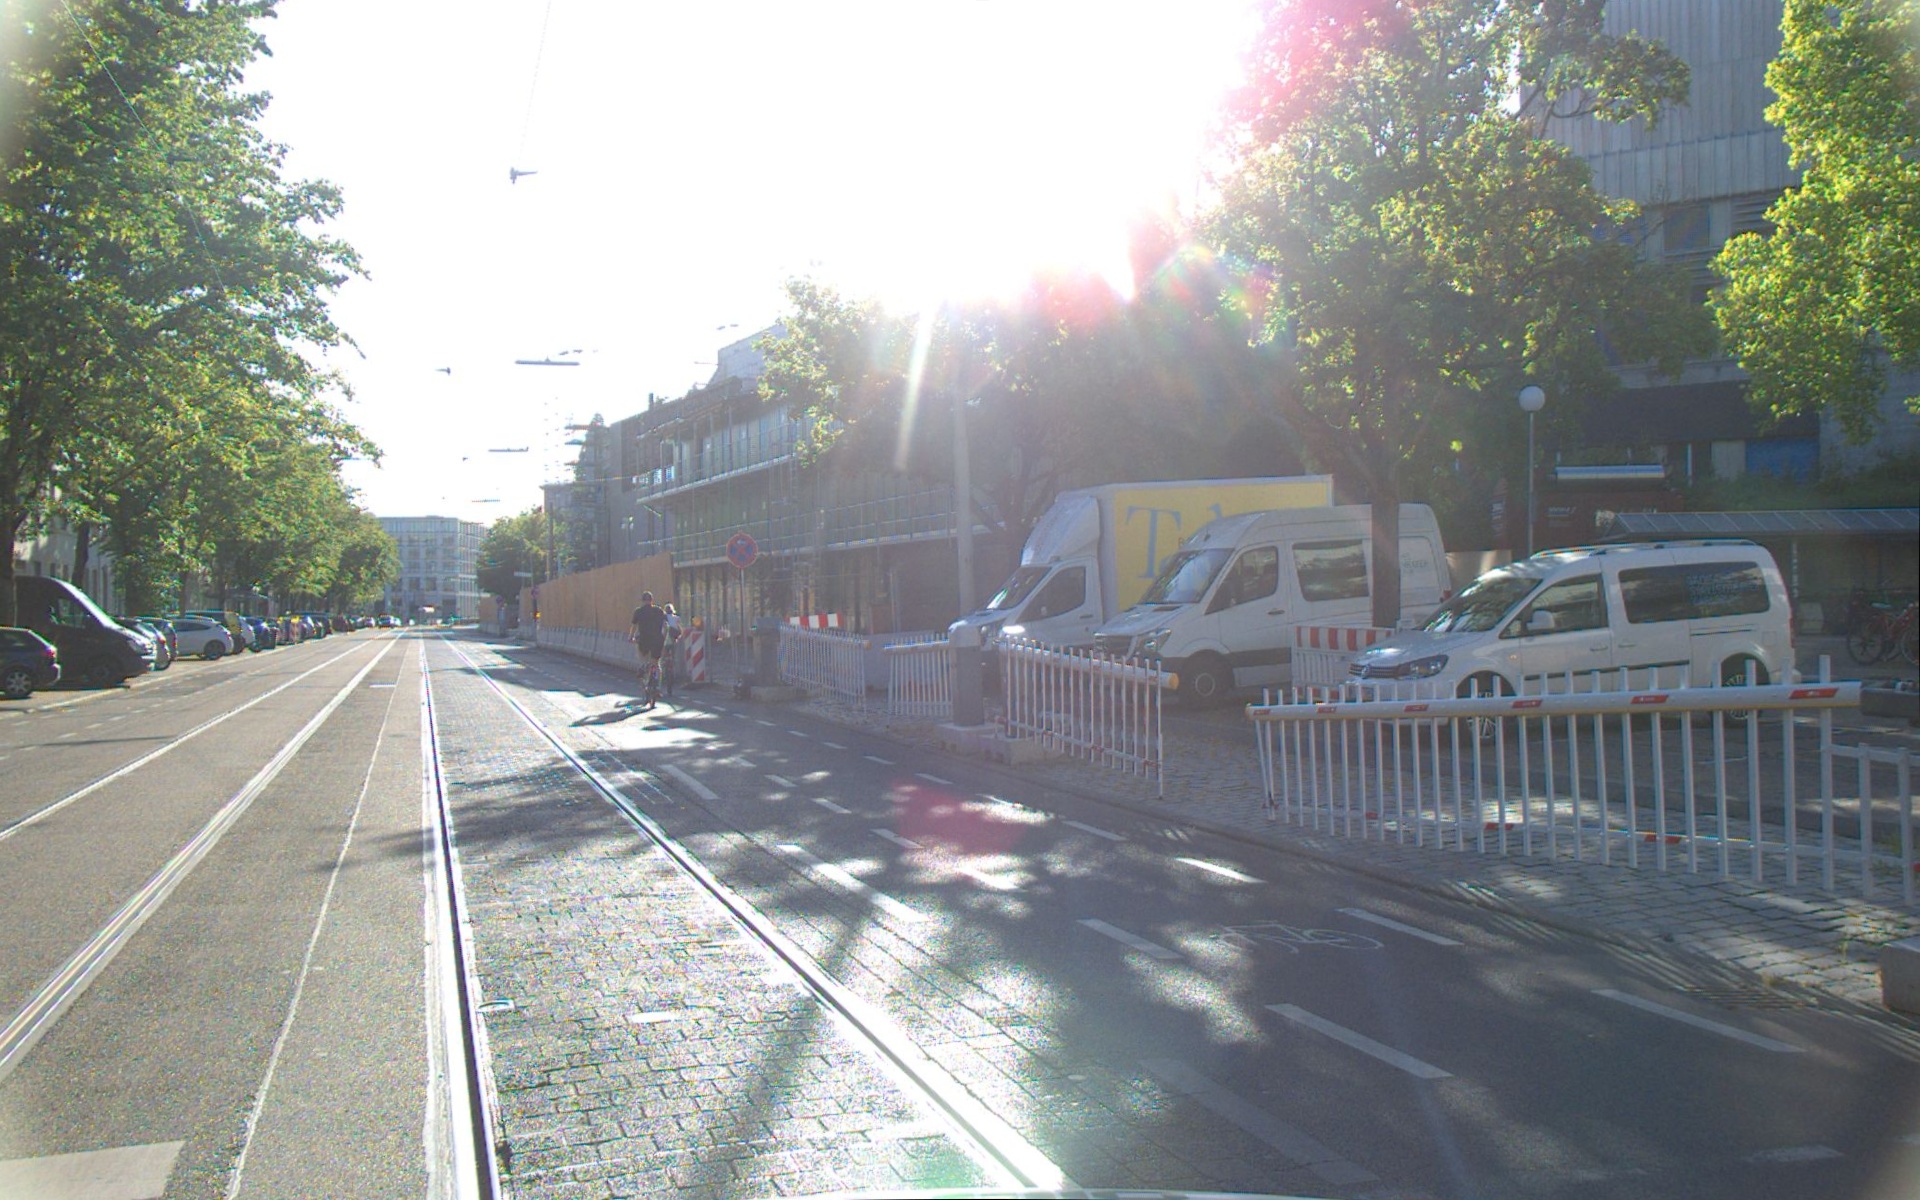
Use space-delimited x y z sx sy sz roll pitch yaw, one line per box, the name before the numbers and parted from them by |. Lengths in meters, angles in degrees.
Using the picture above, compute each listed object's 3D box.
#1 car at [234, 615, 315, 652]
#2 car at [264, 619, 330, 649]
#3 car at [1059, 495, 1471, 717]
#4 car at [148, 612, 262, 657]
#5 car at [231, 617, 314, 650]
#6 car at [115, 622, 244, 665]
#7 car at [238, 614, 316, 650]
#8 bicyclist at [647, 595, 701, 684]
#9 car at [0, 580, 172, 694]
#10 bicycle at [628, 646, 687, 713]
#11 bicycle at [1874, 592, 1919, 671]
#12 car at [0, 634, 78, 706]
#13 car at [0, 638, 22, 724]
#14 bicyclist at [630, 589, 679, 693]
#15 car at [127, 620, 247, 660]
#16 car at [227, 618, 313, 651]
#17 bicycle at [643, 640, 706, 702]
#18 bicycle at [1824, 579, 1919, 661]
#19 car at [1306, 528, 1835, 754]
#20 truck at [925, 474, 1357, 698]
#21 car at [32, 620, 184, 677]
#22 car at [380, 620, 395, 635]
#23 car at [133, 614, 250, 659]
car | -41.096 2.016 99.209 4.062 2.090 1.801 3 -2 -41
car | -47.833 2.455 119.377 4.062 2.090 1.801 3 -2 -41
car | 4.262 0.031 23.053 5.289 2.574 1.987 -4 1 -22
car | -32.438 1.488 71.112 4.062 1.785 1.801 3 -2 -41
car | -40.087 1.980 96.467 4.062 1.785 1.801 3 -2 -41
car | -29.287 1.642 62.141 4.059 1.479 1.803 3 -2 -39
car | -42.590 2.008 103.155 4.062 2.090 1.801 3 -2 -41
bicyclist | -5.504 0.754 31.812 0.879 1.668 1.094 1 -1 -18
car | -22.043 0.896 40.024 5.108 2.623 2.231 2 -2 -22
bicycle | -5.052 1.307 27.527 0.670 1.036 1.911 -1 -1 -19
bicycle | 14.940 0.464 24.391 0.804 1.167 3.082 -2 0 -9
car | -20.472 1.409 33.836 4.053 1.444 1.806 3 -2 -36
car | -18.303 1.316 27.993 4.037 1.444 1.812 2 -2 -27
bicyclist | -5.109 0.676 27.658 0.670 1.687 0.807 -1 -1 -19
car | -31.047 1.619 66.452 4.059 1.479 1.803 3 -2 -39
car | -38.925 1.951 93.349 4.062 1.785 1.801 3 -2 -41
bicycle | -5.515 1.344 31.820 0.879 1.112 2.418 1 -1 -18
bicycle | 14.003 0.283 24.095 0.804 1.167 3.082 -2 0 -9
car | 6.310 0.368 17.274 4.847 1.925 2.004 -3 1 -14
truck | 3.132 -0.299 28.618 6.989 3.406 2.377 -3 0 -19
car | -26.309 1.505 51.232 4.036 1.636 1.813 2 -2 -26
car | -74.257 3.535 214.575 1.657 1.870 3.846 2 -2 -22
car | -31.955 1.529 68.839 4.062 1.785 1.801 3 -2 -41
